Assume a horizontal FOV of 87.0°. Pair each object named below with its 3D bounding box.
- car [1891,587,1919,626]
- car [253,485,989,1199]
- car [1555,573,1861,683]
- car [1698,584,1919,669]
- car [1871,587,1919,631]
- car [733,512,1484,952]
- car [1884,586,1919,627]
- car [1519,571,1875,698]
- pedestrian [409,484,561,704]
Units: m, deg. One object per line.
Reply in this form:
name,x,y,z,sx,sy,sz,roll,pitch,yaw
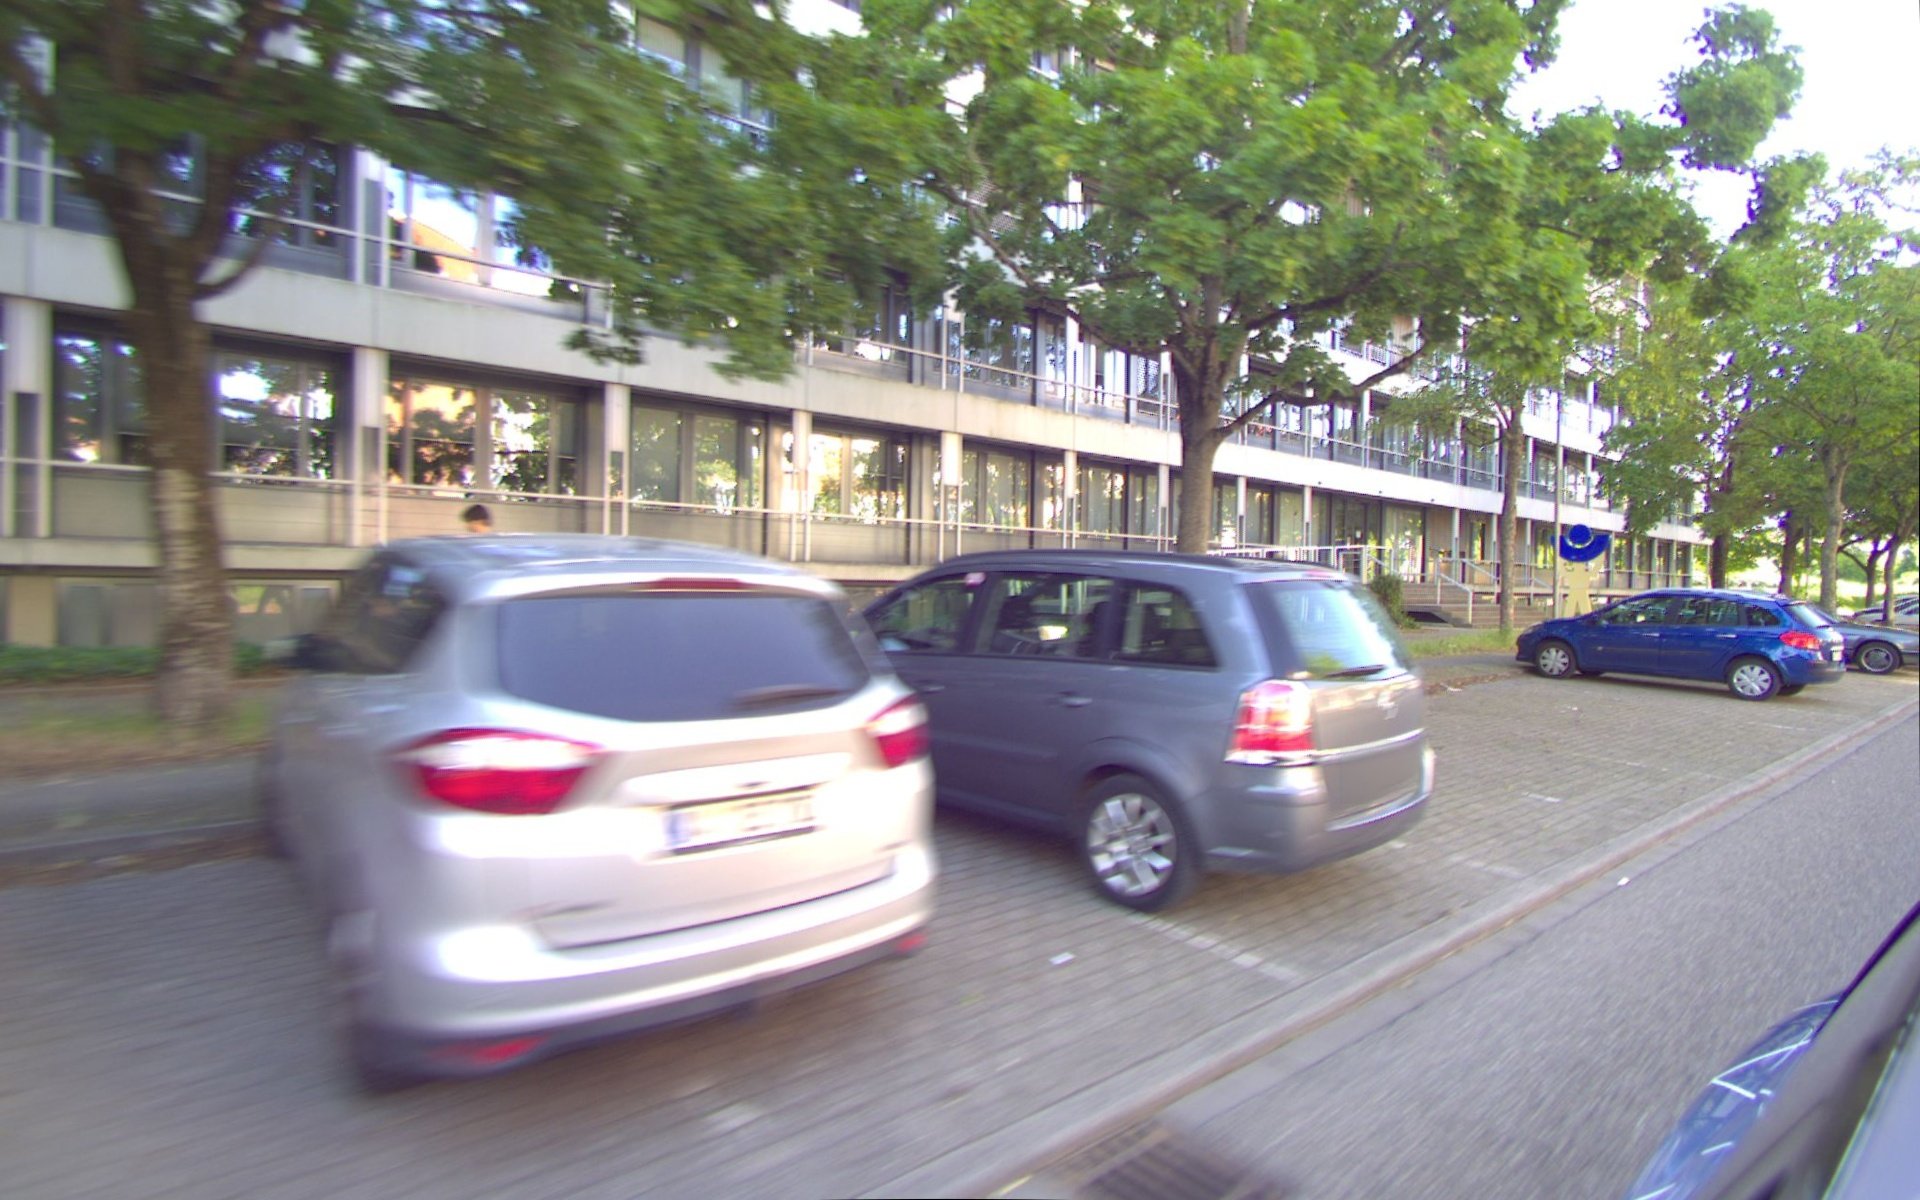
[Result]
car,39.455,0.331,39.805,1.774,1.497,3.993,0,3,-43
car,-1.811,0.478,4.266,1.683,1.604,3.997,0,2,-38
car,12.722,0.383,17.439,1.558,1.513,3.919,0,3,-37
car,17.431,0.481,20.380,1.561,1.399,3.911,-2,5,-43
car,33.851,0.341,34.488,1.774,1.497,3.992,0,2,-43
car,0.571,0.423,6.022,1.876,1.687,4.128,0,2,-44
car,37.586,0.299,38.069,1.774,1.497,3.993,0,3,-43
car,10.994,0.404,15.365,1.682,1.513,4.000,0,3,-37
pedestrian,-4.291,-0.065,9.126,1.001,1.821,1.036,0,1,-41
